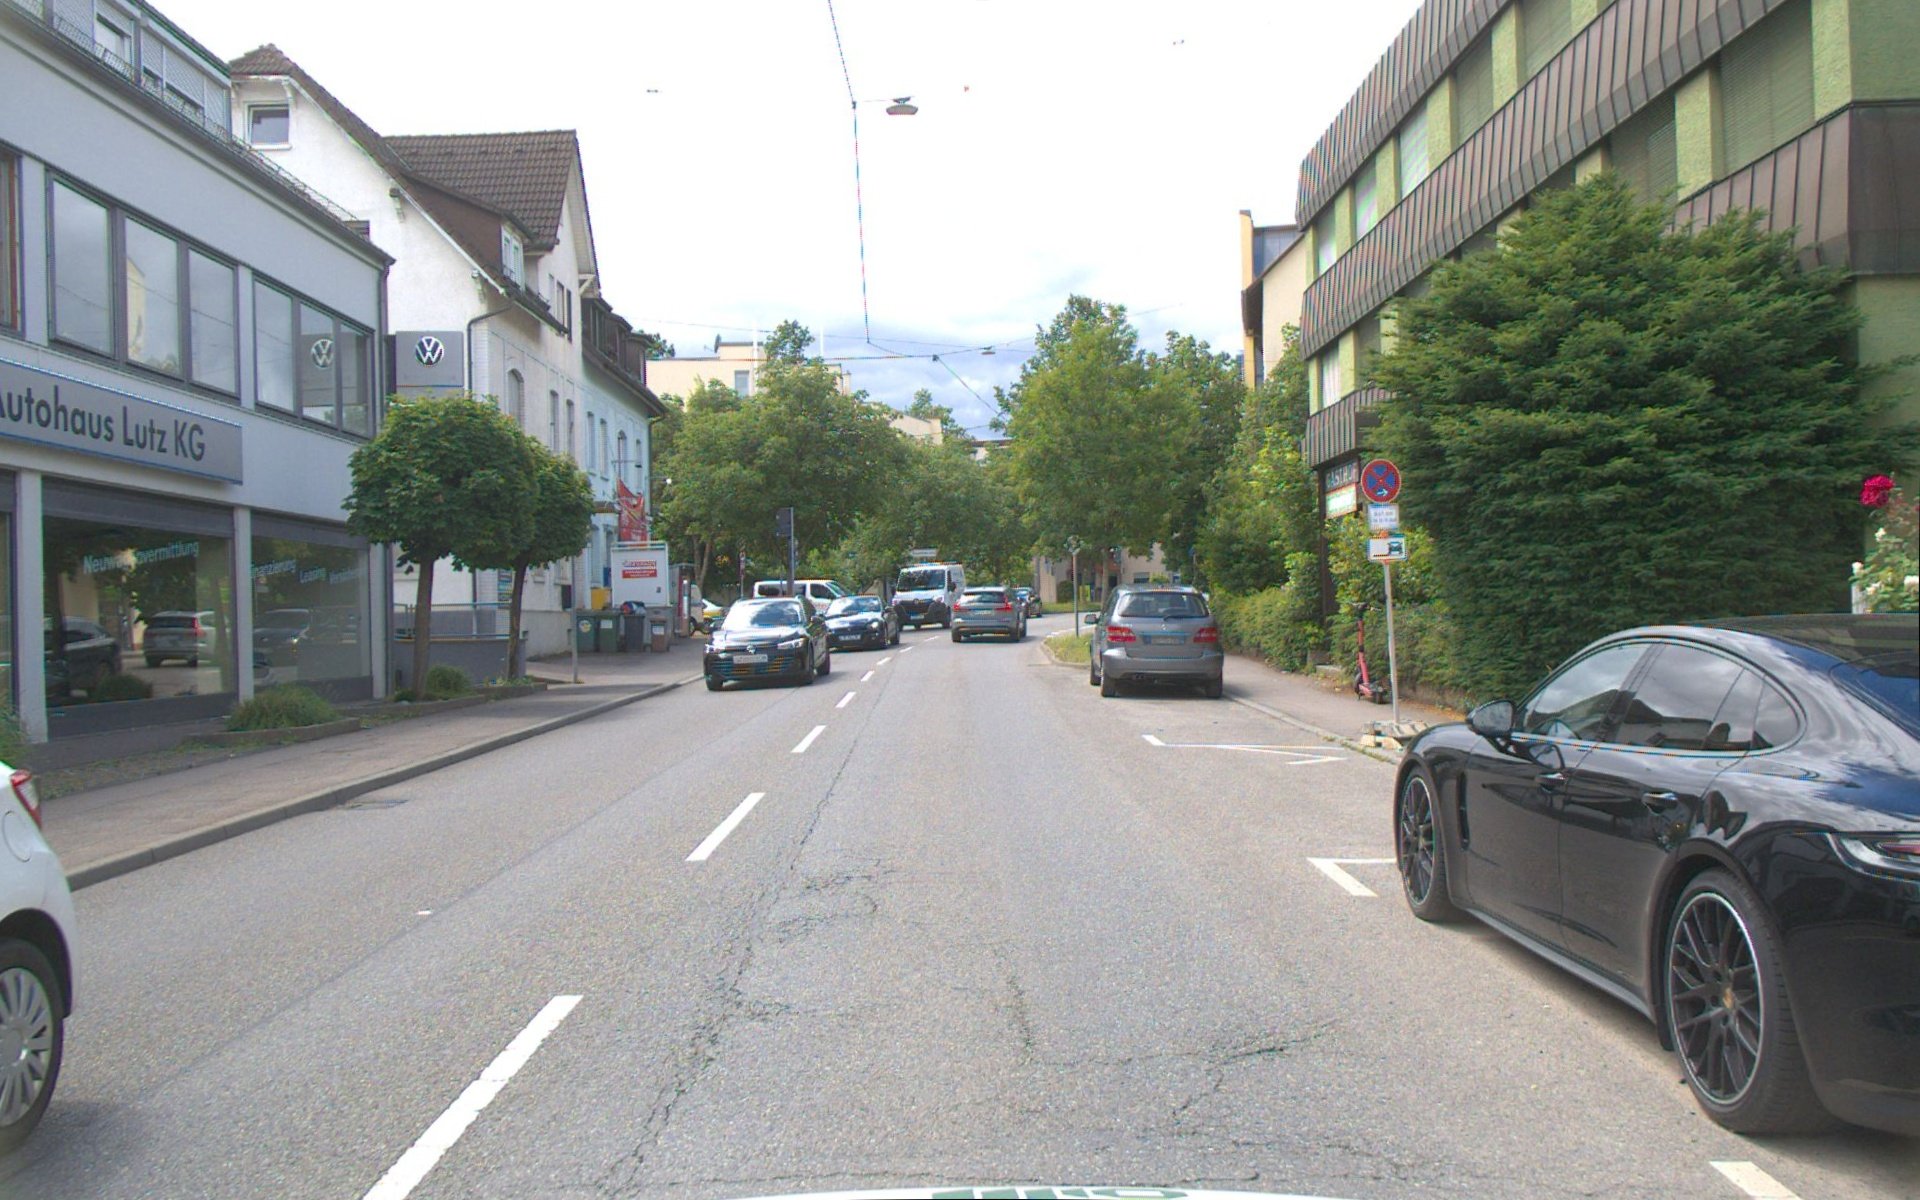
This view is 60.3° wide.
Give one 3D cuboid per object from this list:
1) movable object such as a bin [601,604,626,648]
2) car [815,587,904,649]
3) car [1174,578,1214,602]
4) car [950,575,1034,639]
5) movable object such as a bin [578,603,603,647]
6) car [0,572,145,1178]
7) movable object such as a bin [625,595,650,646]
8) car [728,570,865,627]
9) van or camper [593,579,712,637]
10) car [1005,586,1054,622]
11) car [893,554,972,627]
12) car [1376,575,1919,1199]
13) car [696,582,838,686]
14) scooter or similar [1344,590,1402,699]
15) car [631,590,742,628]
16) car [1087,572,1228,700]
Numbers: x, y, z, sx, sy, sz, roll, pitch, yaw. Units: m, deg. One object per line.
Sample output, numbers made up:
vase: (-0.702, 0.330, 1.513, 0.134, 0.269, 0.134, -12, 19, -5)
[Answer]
movable object such as a bin: (-8.943, 0.677, 42.690, 0.553, 1.120, 0.562, 1, -1, -5)
car: (-2.577, 0.442, 43.368, 1.733, 1.450, 4.111, -3, 0, 4)
car: (16.672, -0.688, 117.687, 1.767, 1.644, 4.329, 2, 0, 21)
car: (0.943, 0.157, 45.870, 1.914, 1.549, 4.333, -1, 2, 6)
movable object such as a bin: (-9.520, 0.631, 42.612, 0.553, 1.120, 0.562, 1, -1, -5)
car: (-3.366, 0.745, 3.278, 1.655, 1.607, 3.798, -2, 0, -1)
movable object such as a bin: (-8.341, 0.523, 42.777, 0.553, 1.295, 0.562, 1, 0, -5)
car: (-6.748, -0.059, 68.262, 5.103, 2.028, 2.110, -3, 0, 17)
van or camper: (-11.346, 0.302, 61.263, 1.754, 2.028, 4.364, -2, -1, 35)
car: (3.218, 0.169, 76.187, 1.651, 1.508, 4.230, -5, -1, 10)
car: (-0.949, -0.373, 60.365, 2.019, 2.394, 5.187, -4, 1, 7)
car: (3.112, 0.668, 5.992, 1.944, 1.473, 4.751, -2, 0, -1)
car: (-3.313, 0.559, 29.184, 1.740, 1.549, 4.463, -5, 0, 2)
scooter or similar: (5.308, 0.554, 21.316, 0.295, 1.327, 1.404, -4, 1, -1)
car: (-10.849, 0.380, 65.720, 3.930, 1.438, 1.817, -1, -1, 12)
car: (2.912, 0.464, 25.165, 1.655, 1.695, 4.463, -2, 1, 1)
